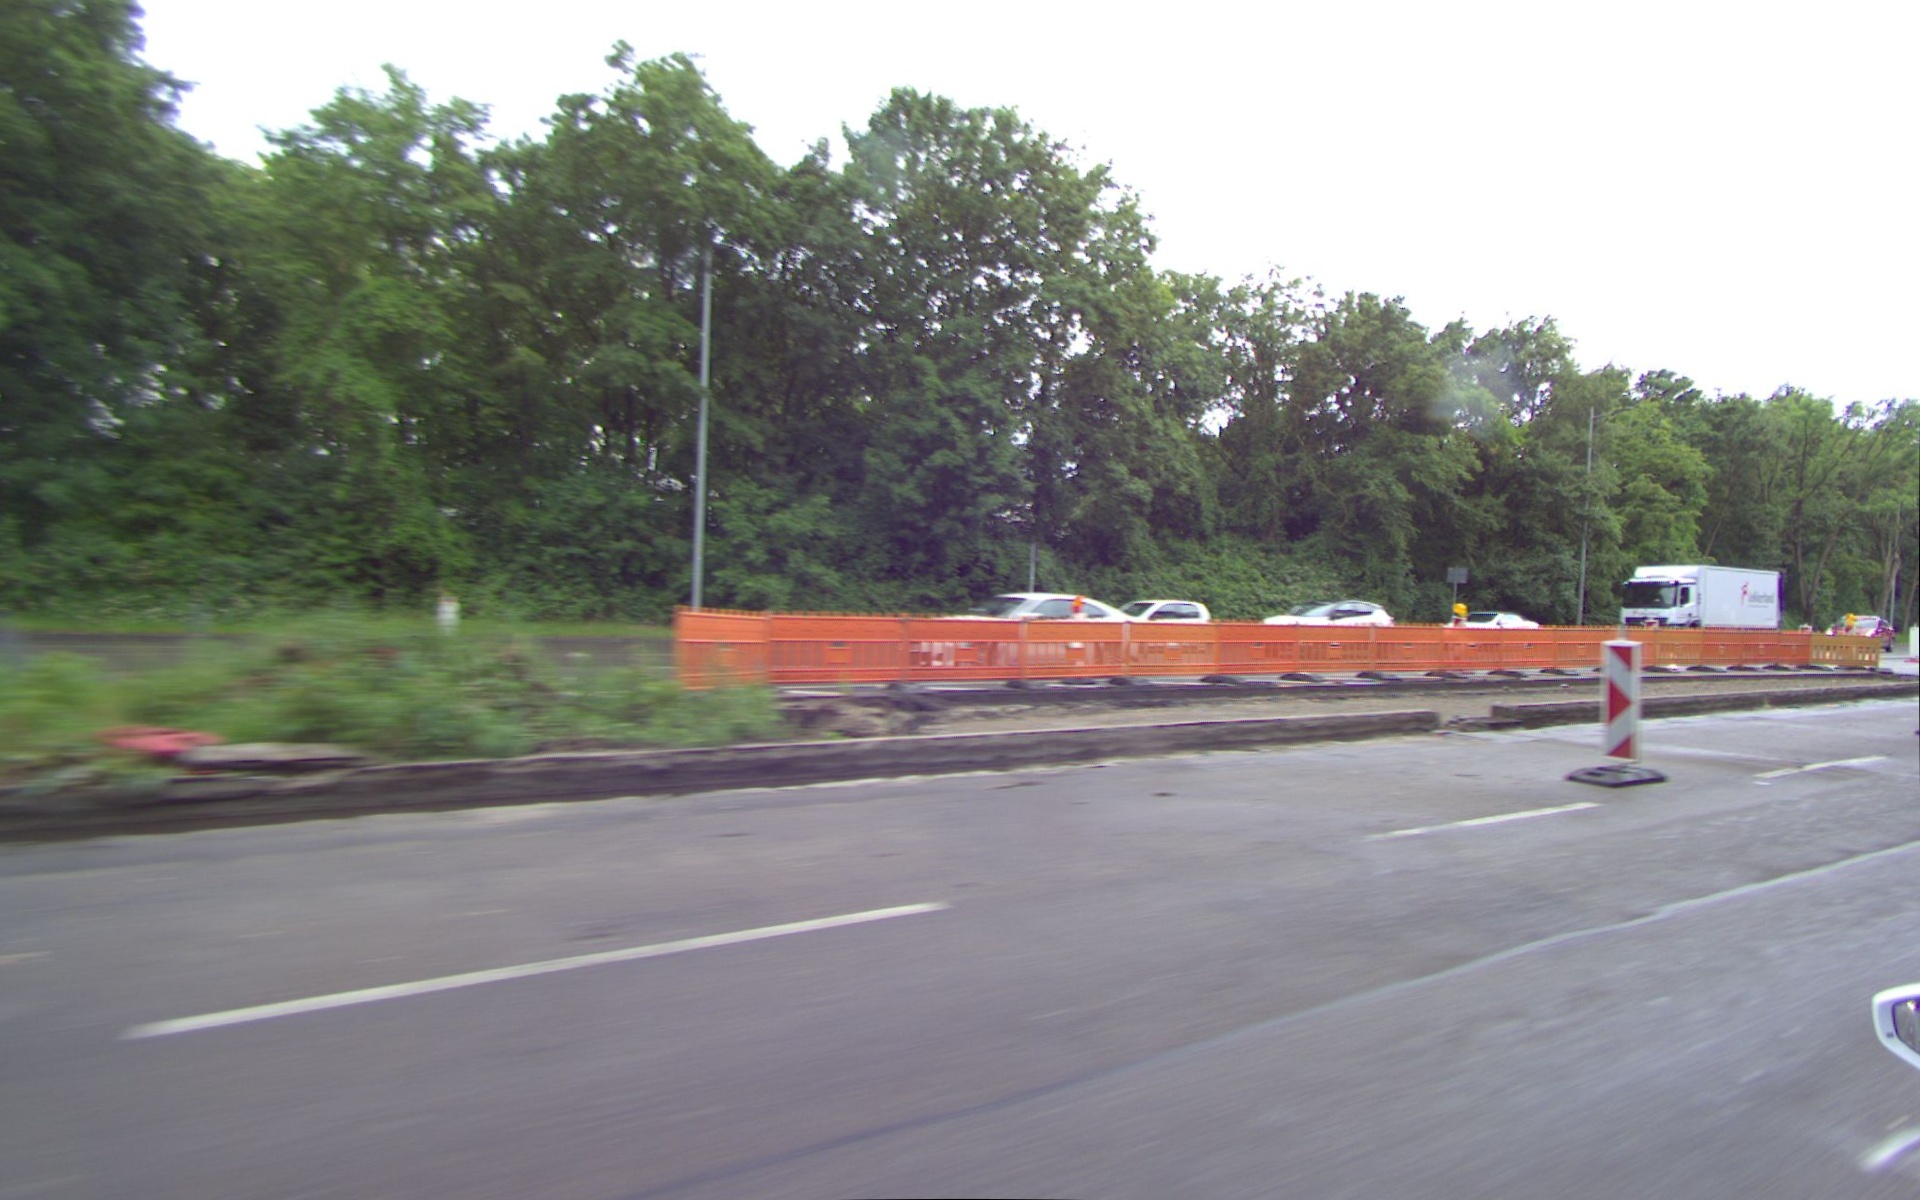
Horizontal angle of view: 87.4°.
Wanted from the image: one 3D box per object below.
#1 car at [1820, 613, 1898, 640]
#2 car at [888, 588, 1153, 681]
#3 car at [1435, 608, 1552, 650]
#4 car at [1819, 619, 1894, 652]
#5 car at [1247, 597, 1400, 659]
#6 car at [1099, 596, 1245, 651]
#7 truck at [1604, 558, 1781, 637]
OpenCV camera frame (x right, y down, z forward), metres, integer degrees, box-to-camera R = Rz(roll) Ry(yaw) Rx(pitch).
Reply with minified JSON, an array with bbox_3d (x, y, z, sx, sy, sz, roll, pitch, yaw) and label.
[{"bbox_3d":[43.148,1.279,48.184,4.233,1.168,1.597,2,1,-31],"label":"car"},{"bbox_3d":[1.160,0.596,18.451,4.624,1.506,1.847,1,1,-31],"label":"car"},{"bbox_3d":[19.528,1.071,36.704,4.319,1.397,1.800,2,0,-31],"label":"car"},{"bbox_3d":[50.484,2.008,56.530,4.665,1.746,1.835,1,-3,-31],"label":"car"},{"bbox_3d":[10.040,0.754,27.689,3.993,1.571,1.825,1,1,-31],"label":"car"},{"bbox_3d":[6.044,0.674,28.534,3.851,1.444,1.782,1,1,-31],"label":"car"},{"bbox_3d":[33.029,-0.030,45.088,10.034,3.190,2.780,2,1,-32],"label":"truck"}]
